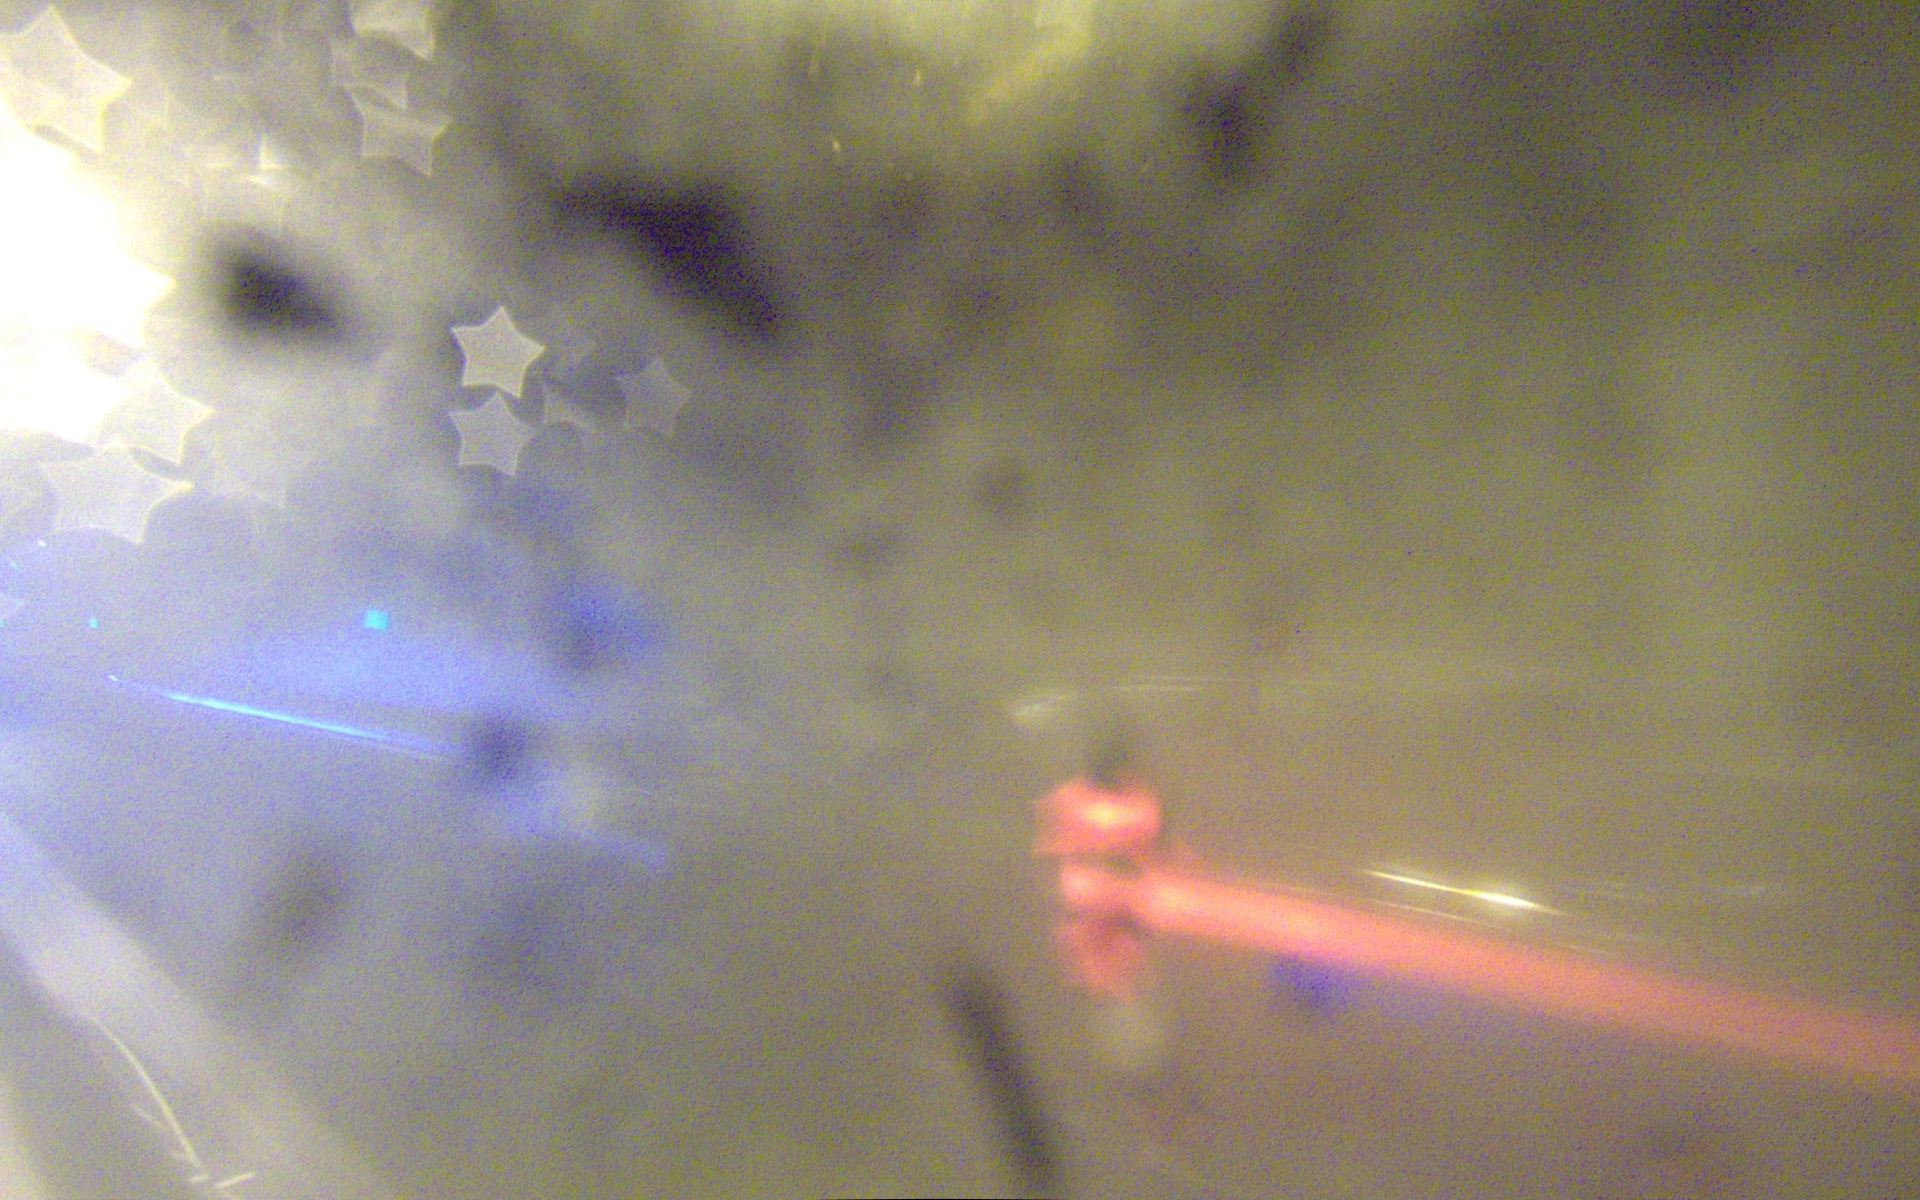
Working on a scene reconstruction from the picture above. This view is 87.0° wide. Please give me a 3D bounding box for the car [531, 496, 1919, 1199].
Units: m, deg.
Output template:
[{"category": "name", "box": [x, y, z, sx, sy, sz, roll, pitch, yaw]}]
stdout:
[{"category": "car", "box": [0.354, 0.713, 3.009, 3.644, 1.546, 1.618, -2, -2, 42]}]
